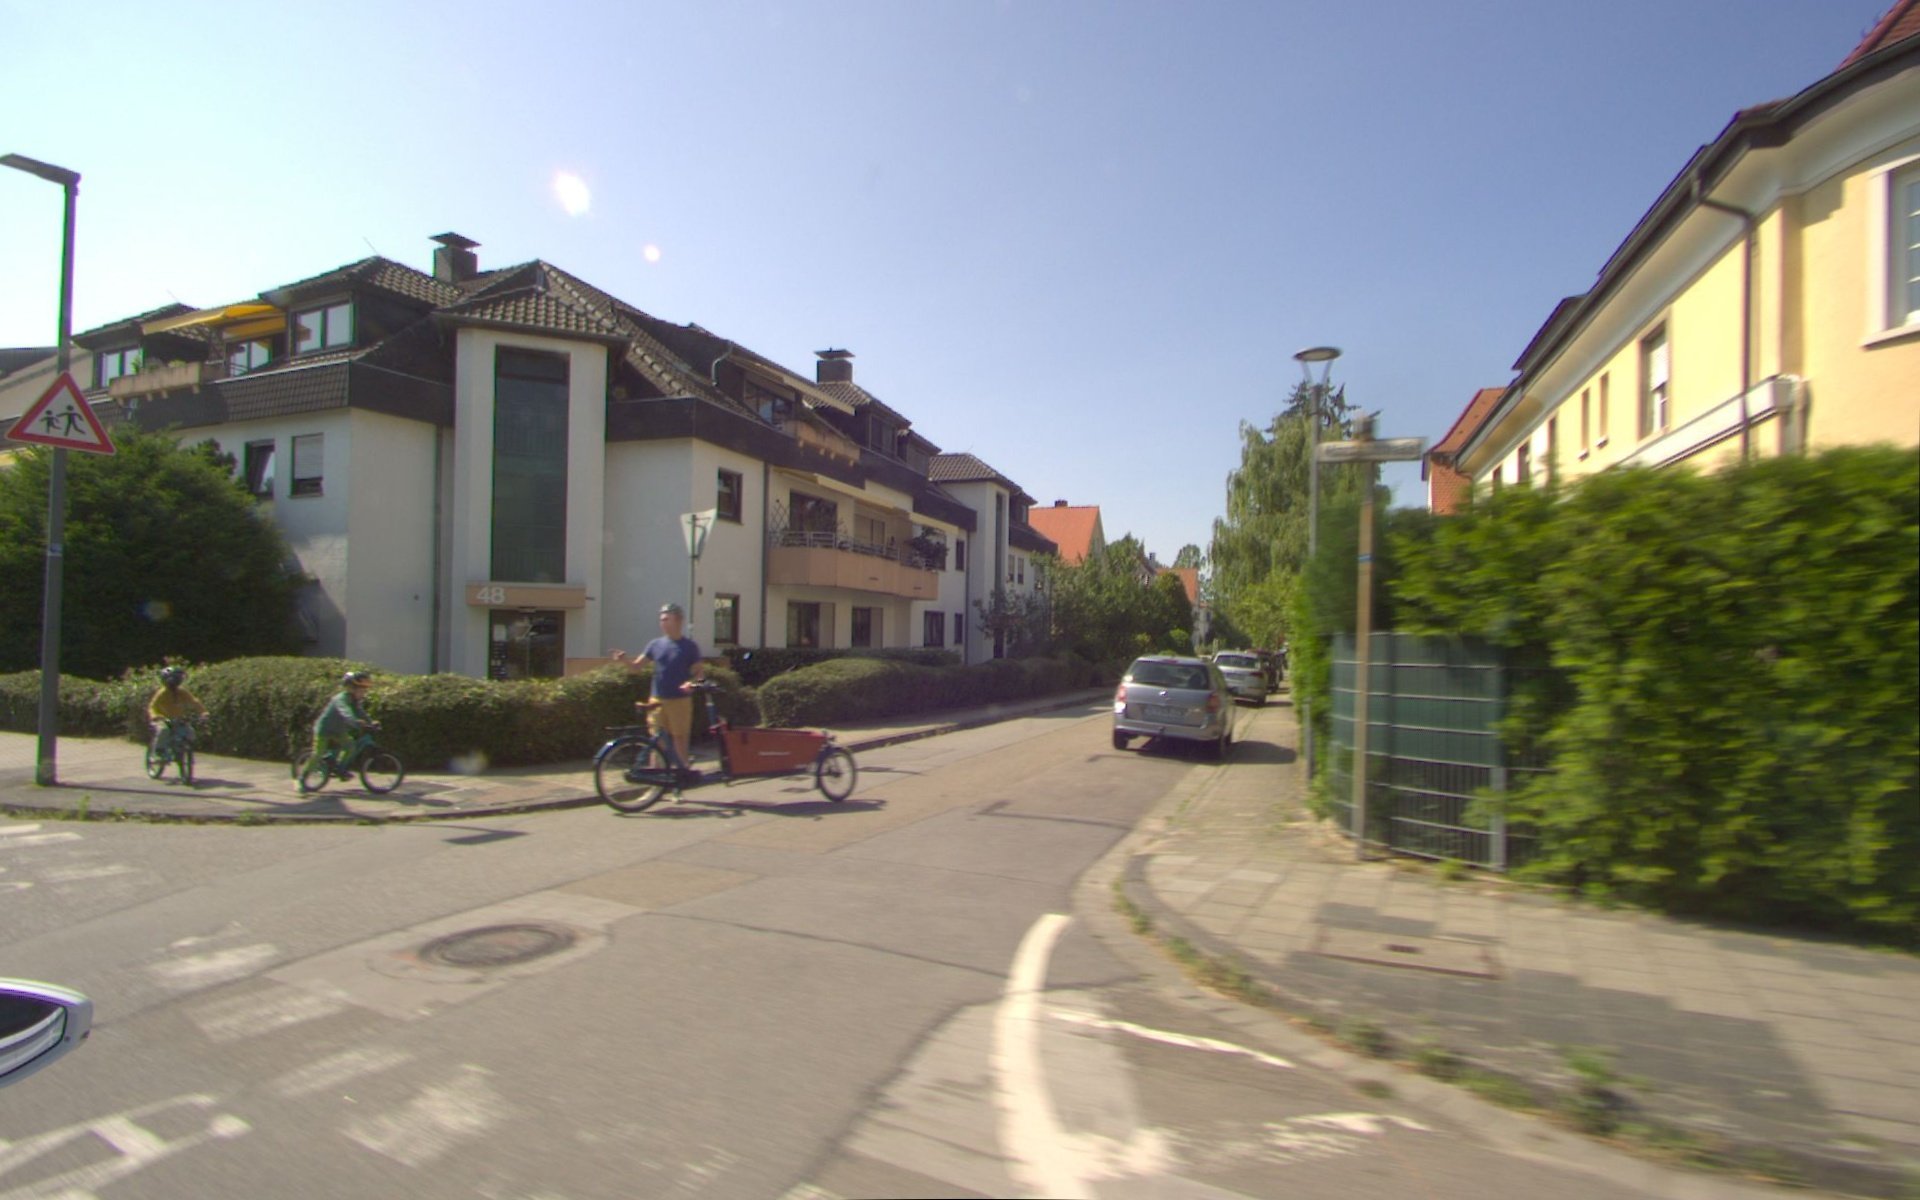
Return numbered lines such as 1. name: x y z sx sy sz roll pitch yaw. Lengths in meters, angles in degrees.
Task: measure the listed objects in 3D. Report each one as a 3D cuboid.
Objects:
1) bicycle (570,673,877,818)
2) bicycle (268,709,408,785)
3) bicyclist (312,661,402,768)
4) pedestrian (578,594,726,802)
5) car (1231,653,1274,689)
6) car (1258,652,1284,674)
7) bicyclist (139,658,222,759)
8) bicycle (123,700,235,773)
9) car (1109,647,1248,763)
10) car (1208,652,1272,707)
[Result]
1. bicycle: -2.185 1.300 9.453 2.674 1.173 0.859 3 -2 -31
2. bicycle: -5.776 1.353 9.304 1.151 0.607 0.402 1 -1 14
3. bicyclist: -5.615 1.050 9.325 0.647 0.941 0.401 0 -2 23
4. pedestrian: -2.938 0.925 9.671 1.166 1.896 0.902 1 -1 -6
5. car: 13.989 3.329 47.757 1.779 1.588 3.996 1 -2 18
6. car: 23.763 4.781 76.419 1.779 1.588 3.996 1 -2 18
7. bicyclist: -7.656 1.050 9.837 0.599 0.945 0.399 0 -2 26
8. bicycle: -7.711 1.330 9.882 1.132 0.607 0.401 1 -1 26
9. car: 3.685 1.600 16.368 1.779 1.588 3.996 1 -2 18
10. car: 8.978 2.481 31.926 1.779 1.588 3.996 1 -2 18
